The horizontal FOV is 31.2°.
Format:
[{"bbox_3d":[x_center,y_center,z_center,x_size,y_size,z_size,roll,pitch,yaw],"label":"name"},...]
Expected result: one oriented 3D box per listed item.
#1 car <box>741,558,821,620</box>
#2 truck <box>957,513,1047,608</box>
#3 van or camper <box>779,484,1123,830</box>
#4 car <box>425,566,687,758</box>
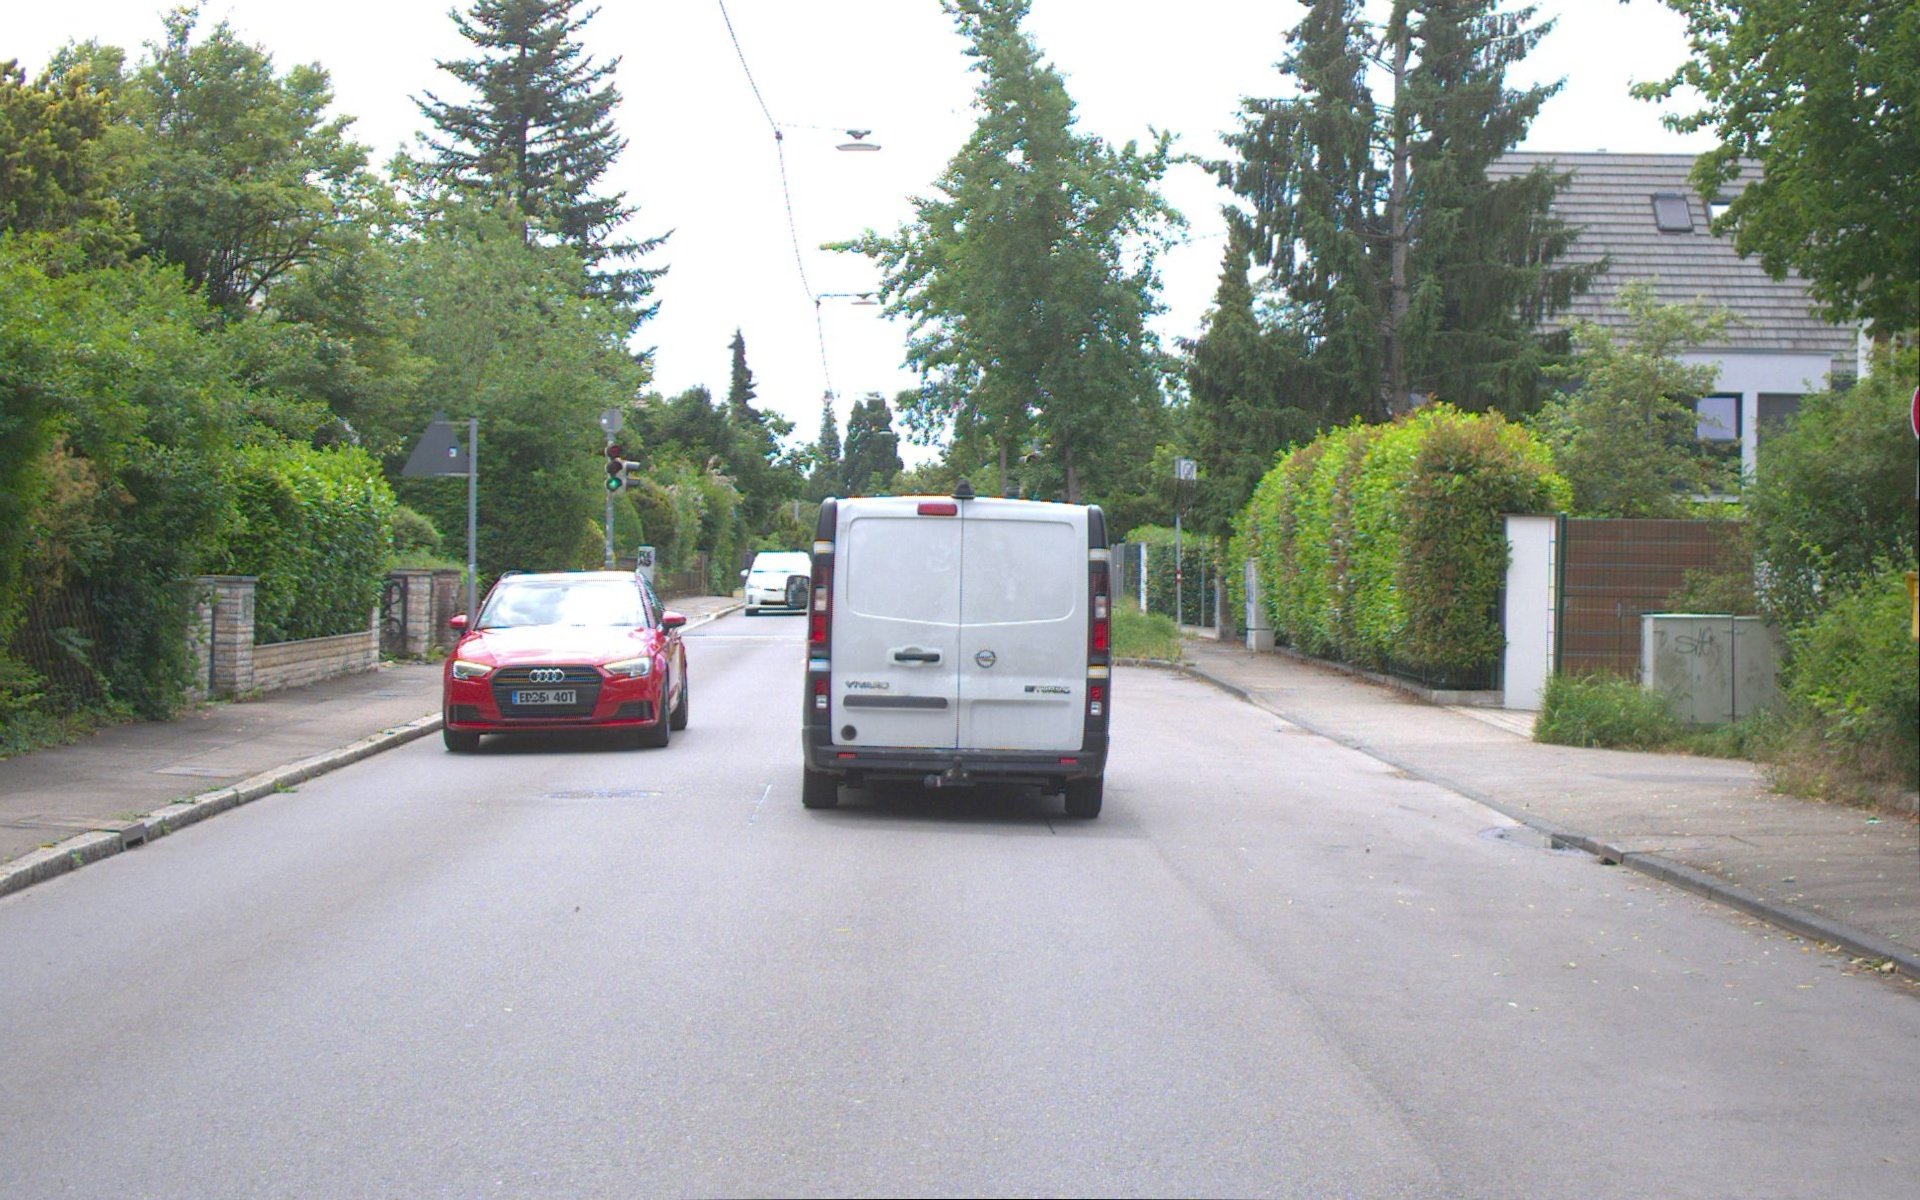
[{"bbox_3d":[-4.312,-0.285,83.206,1.854,1.446,4.282,-1,1,-2],"label":"car"},{"bbox_3d":[1.128,-1.092,96.523,2.187,2.463,7.431,2,0,-1],"label":"truck"},{"bbox_3d":[-0.117,0.364,22.483,1.939,1.947,4.765,2,-1,-2],"label":"van or camper"},{"bbox_3d":[-3.288,0.467,28.660,1.805,1.426,4.119,-2,0,-2],"label":"car"}]
